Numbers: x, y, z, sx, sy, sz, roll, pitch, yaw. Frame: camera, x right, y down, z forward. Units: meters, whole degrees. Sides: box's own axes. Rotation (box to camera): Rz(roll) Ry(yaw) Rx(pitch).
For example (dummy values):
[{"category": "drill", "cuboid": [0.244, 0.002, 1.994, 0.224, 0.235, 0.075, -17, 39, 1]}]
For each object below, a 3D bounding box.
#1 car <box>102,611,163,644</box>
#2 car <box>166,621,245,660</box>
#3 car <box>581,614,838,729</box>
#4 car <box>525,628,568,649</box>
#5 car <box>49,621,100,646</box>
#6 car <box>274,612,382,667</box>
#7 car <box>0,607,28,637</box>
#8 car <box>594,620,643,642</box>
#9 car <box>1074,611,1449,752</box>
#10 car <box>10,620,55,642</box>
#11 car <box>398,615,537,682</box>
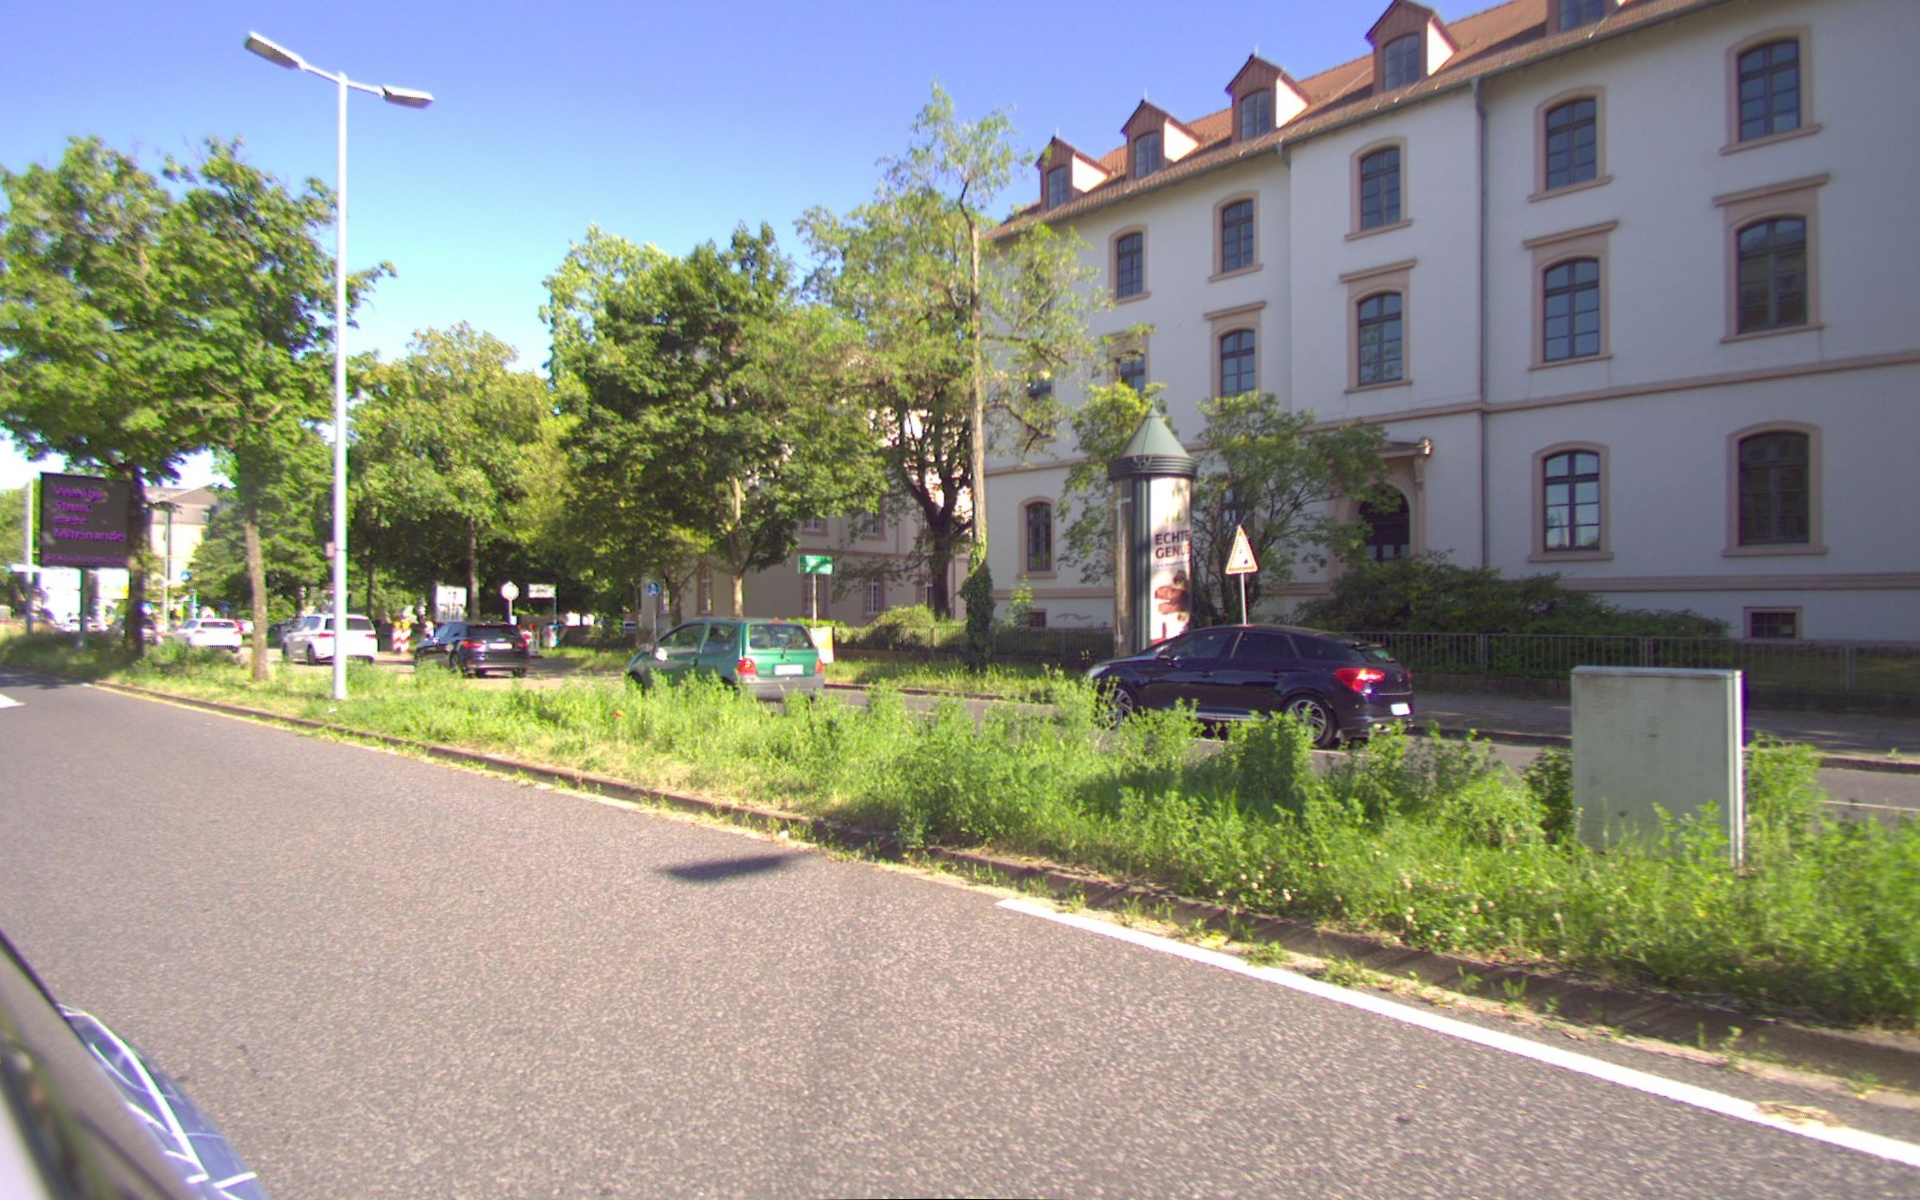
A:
[{"category": "car", "cuboid": [-43.178, 1.420, 52.783, 4.256, 1.530, 1.777, 1, 1, 41]}, {"category": "car", "cuboid": [-32.041, 1.680, 42.917, 4.665, 1.530, 1.819, -1, -1, 42]}, {"category": "car", "cuboid": [-3.912, 0.992, 15.419, 4.255, 1.530, 1.621, -1, -2, 40]}, {"category": "car", "cuboid": [-27.952, 2.572, 68.397, 1.743, 1.333, 3.507, 1, -2, -39]}, {"category": "car", "cuboid": [-55.476, 2.076, 63.367, 4.255, 1.530, 1.777, -1, -1, 40]}, {"category": "car", "cuboid": [-20.298, 1.250, 32.436, 4.538, 1.638, 1.879, -1, -3, 44]}, {"category": "car", "cuboid": [-59.672, 1.361, 63.163, 4.321, 1.630, 1.735, 3, 2, 41]}, {"category": "car", "cuboid": [-28.151, 2.500, 83.382, 4.683, 1.503, 1.625, 3, 2, 41]}, {"category": "car", "cuboid": [3.791, 0.928, 13.317, 1.775, 1.530, 4.426, 0, 0, -45]}, {"category": "car", "cuboid": [-66.846, 2.231, 72.921, 4.441, 1.530, 1.777, -1, -1, 40]}, {"category": "car", "cuboid": [-12.599, 1.201, 25.781, 4.087, 1.530, 1.776, 0, -2, 43]}]
